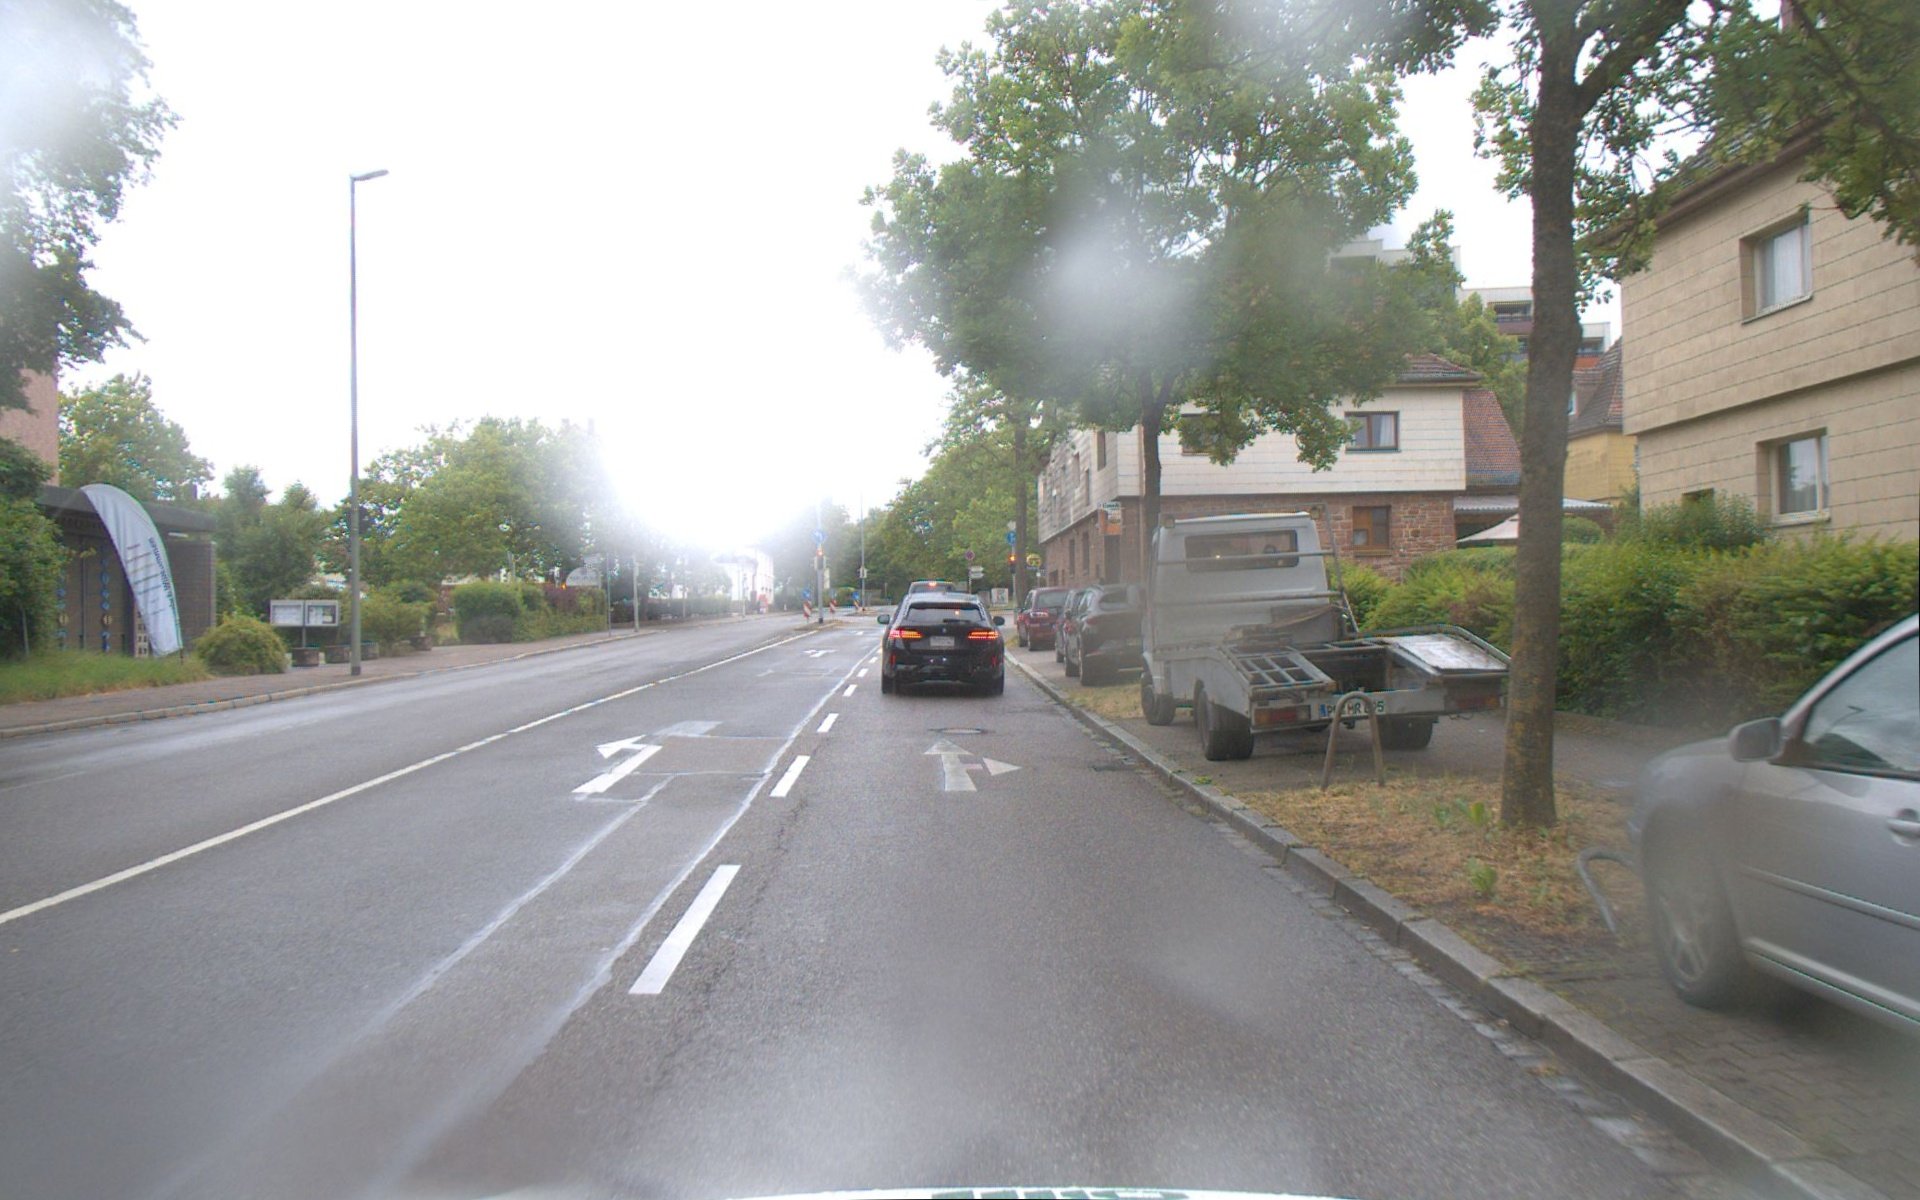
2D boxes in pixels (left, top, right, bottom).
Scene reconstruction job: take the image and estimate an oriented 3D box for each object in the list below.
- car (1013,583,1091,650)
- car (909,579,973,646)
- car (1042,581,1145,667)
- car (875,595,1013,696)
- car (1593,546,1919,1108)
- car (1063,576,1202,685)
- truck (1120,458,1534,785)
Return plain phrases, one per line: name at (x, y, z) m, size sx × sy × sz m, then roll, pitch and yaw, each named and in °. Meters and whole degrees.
car at (2.311, 0.388, 42.303) m, size 1.552 × 1.516 × 3.626 m, roll -4°, pitch 1°, yaw -3°
car at (-0.598, 0.334, 48.697) m, size 1.748 × 1.849 × 3.998 m, roll -1°, pitch 0°, yaw -2°
car at (2.584, 0.430, 32.751) m, size 1.572 × 1.497 × 3.855 m, roll -4°, pitch 1°, yaw -1°
car at (-0.340, 0.661, 26.443) m, size 2.023 × 1.472 × 4.480 m, roll 0°, pitch 0°, yaw -3°
car at (3.322, 0.584, 4.446) m, size 1.569 × 1.461 × 4.021 m, roll -4°, pitch 1°, yaw -1°
car at (2.713, 0.438, 26.870) m, size 1.679 × 1.524 × 4.183 m, roll -4°, pitch 0°, yaw -1°
truck at (3.017, 0.133, 15.406) m, size 2.039 × 2.260 × 6.499 m, roll -4°, pitch 1°, yaw -2°
